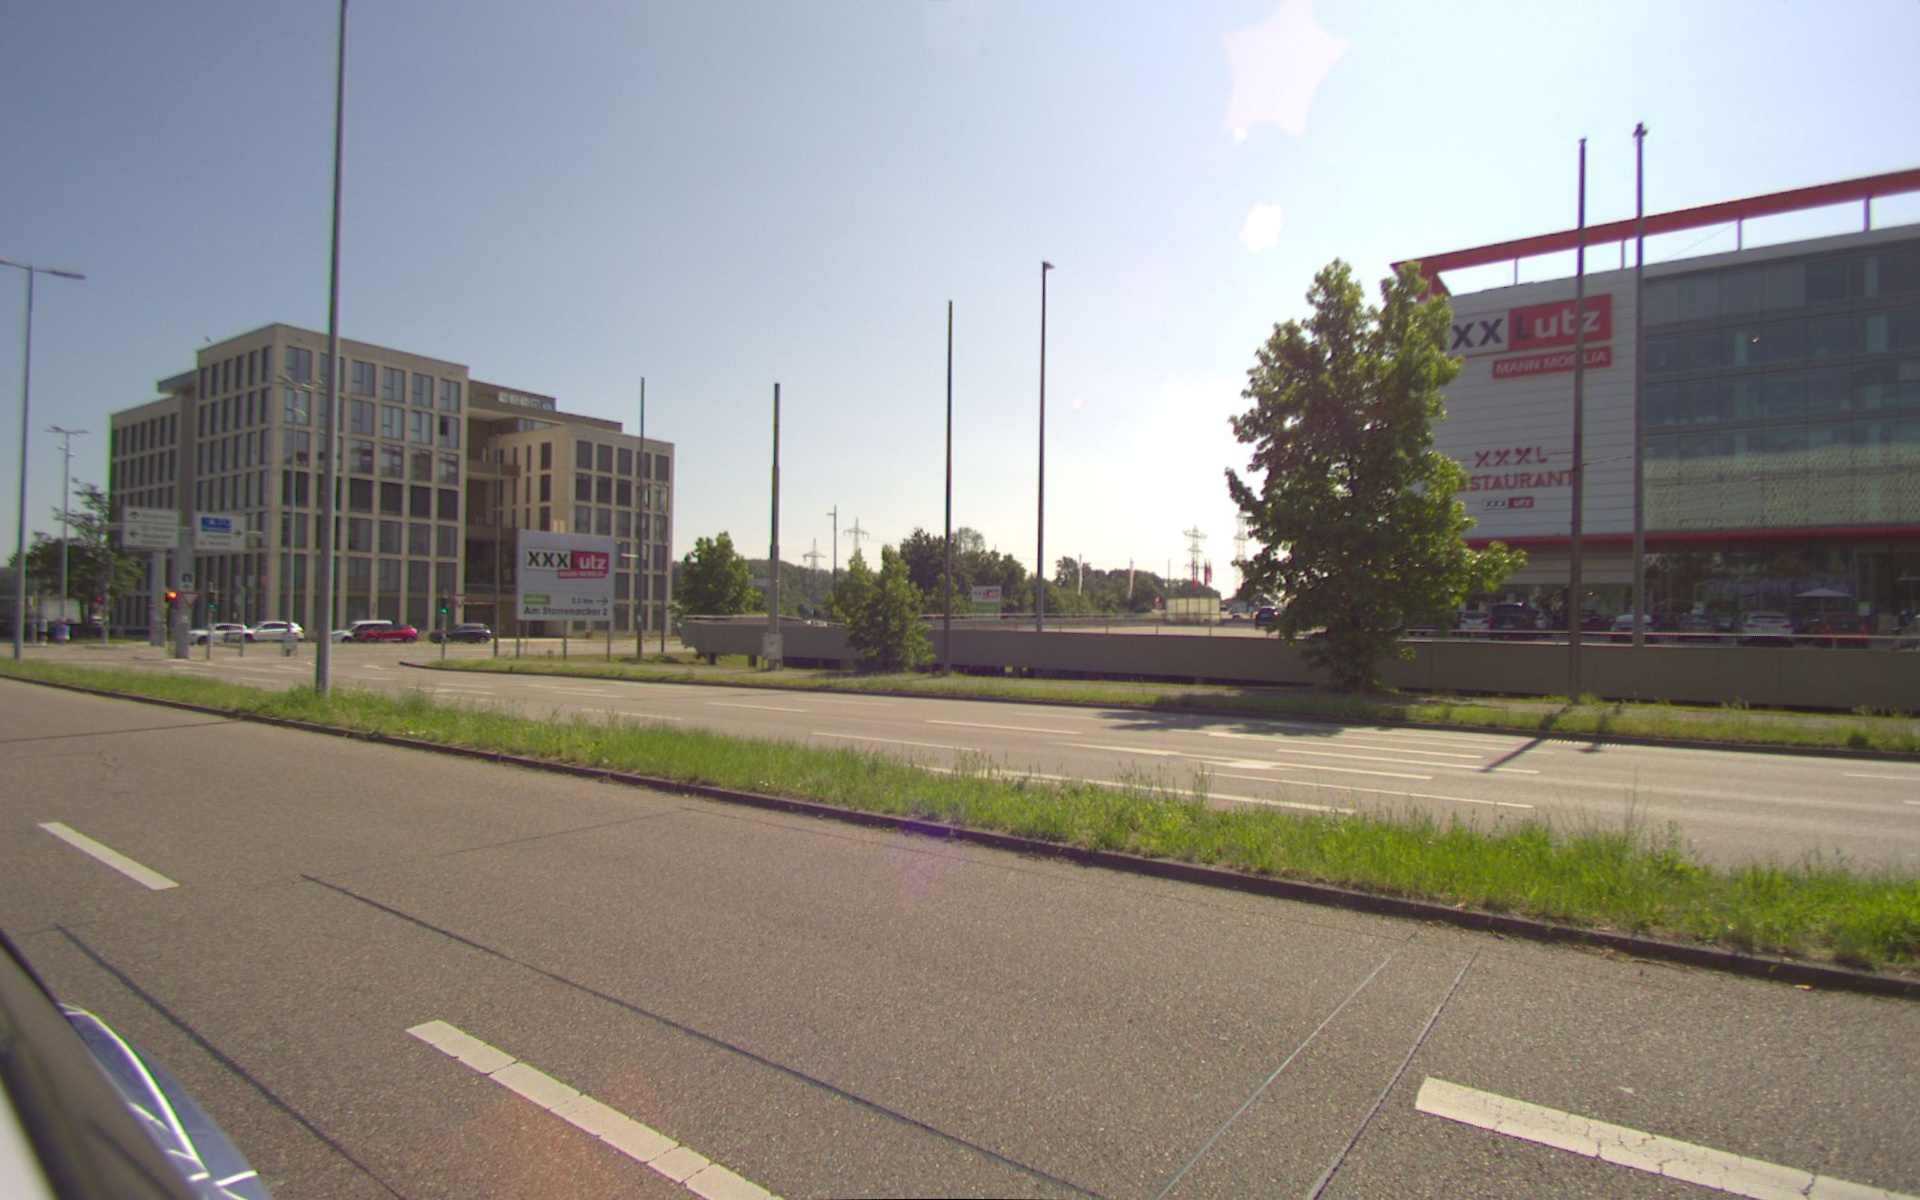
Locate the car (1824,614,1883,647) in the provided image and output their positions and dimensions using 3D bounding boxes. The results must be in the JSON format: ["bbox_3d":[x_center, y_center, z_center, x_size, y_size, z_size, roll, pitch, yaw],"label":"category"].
[{"bbox_3d":[38.227,1.283,43.353,1.512,1.340,3.187,0,-1,34],"label":"car"}]

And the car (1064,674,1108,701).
[{"bbox_3d":[5.204,3.578,41.574,1.068,0.983,1.921,0,-1,33],"label":"car"}]

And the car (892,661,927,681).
[{"bbox_3d":[-2.732,3.865,54.959,0.885,0.983,1.919,0,-1,36],"label":"car"}]

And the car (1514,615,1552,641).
[{"bbox_3d":[30.791,1.509,54.373,1.512,1.340,3.061,0,-1,34],"label":"car"}]

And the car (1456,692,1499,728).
[{"bbox_3d":[16.810,3.553,32.871,1.068,0.983,1.921,0,-1,33],"label":"car"}]

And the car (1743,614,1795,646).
[{"bbox_3d":[35.304,1.301,44.213,1.512,1.340,3.187,0,-1,34],"label":"car"}]

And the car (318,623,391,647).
[{"bbox_3d":[-44.397,2.557,74.262,1.899,1.724,4.183,-1,-2,33],"label":"car"}]

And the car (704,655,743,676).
[{"bbox_3d":[-12.831,3.548,54.949,0.887,0.983,1.921,-7,-5,33],"label":"car"}]

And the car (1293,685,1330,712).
[{"bbox_3d":[15.254,4.240,43.879,1.068,0.983,1.921,0,-1,33],"label":"car"}]

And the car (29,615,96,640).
[{"bbox_3d":[-75.521,2.339,85.251,3.933,2.029,2.005,2,-2,-34],"label":"car"}]

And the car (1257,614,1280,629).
[{"bbox_3d":[22.172,1.546,72.649,1.068,0.983,1.921,0,-1,33],"label":"car"}]

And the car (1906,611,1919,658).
[{"bbox_3d":[22.127,0.784,22.574,1.068,1.067,2.493,0,-1,33],"label":"car"}]

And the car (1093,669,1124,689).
[{"bbox_3d":[8.629,4.563,58.646,1.068,0.983,1.921,0,-1,33],"label":"car"}]

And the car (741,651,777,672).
[{"bbox_3d":[-9.152,2.803,46.133,0.790,0.889,1.489,0,-1,33],"label":"car"}]

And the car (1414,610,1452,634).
[{"bbox_3d":[26.839,1.248,57.403,1.512,1.340,2.985,0,-1,34],"label":"car"}]

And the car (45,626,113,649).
[{"bbox_3d":[-70.306,2.999,80.856,3.937,1.751,2.003,3,-2,-40],"label":"car"}]

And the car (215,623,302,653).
[{"bbox_3d":[-45.888,2.438,66.287,2.020,1.852,4.266,0,-1,31],"label":"car"}]

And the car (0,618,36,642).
[{"bbox_3d":[-84.715,2.658,89.650,3.933,2.029,2.005,2,-2,-34],"label":"car"}]

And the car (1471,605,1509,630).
[{"bbox_3d":[29.511,0.998,56.296,1.512,1.340,3.061,0,-1,34],"label":"car"}]

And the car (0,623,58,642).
[{"bbox_3d":[-81.922,2.874,88.682,3.933,1.627,2.005,2,-2,-34],"label":"car"}]

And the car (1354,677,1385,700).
[{"bbox_3d":[20.187,4.372,49.906,1.068,0.983,1.921,0,-1,33],"label":"car"}]

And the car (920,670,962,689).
[{"bbox_3d":[-0.834,3.591,45.818,0.904,0.739,2.064,0,-1,33],"label":"car"}]

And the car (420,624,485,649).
[{"bbox_3d":[-39.968,2.853,79.843,1.831,1.903,4.191,0,-1,36],"label":"car"}]

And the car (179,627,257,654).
[{"bbox_3d":[-49.152,2.641,67.070,1.827,1.725,3.727,0,-1,30],"label":"car"}]

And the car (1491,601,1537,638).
[{"bbox_3d":[27.282,0.974,49.838,1.688,1.771,3.061,0,-1,34],"label":"car"}]

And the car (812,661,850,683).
[{"bbox_3d":[-6.372,3.530,50.070,0.864,0.983,1.827,0,-1,33],"label":"car"}]

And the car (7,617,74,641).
[{"bbox_3d":[-78.651,2.496,86.613,3.933,2.029,2.005,2,-2,-34],"label":"car"}]

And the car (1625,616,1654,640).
[{"bbox_3d":[31.315,1.281,46.670,1.068,0.982,1.921,2,-3,33],"label":"car"}]

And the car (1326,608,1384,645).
[{"bbox_3d":[17.266,1.182,44.220,1.770,1.568,2.743,-2,-3,34],"label":"car"}]

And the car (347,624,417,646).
[{"bbox_3d":[-41.412,2.525,72.555,1.526,1.539,4.073,-1,-2,33],"label":"car"}]

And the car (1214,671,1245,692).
[{"bbox_3d":[14.452,4.362,54.196,1.068,0.983,1.921,0,-1,33],"label":"car"}]

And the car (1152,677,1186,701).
[{"bbox_3d":[9.883,4.198,47.779,0.908,0.983,1.921,0,-1,33],"label":"car"}]

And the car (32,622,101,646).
[{"bbox_3d":[-72.886,2.793,82.615,3.933,1.841,2.005,2,-2,-34],"label":"car"}]

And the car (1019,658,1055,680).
[{"bbox_3d":[3.972,3.536,51.982,1.068,0.983,1.921,0,-1,33],"label":"car"}]
